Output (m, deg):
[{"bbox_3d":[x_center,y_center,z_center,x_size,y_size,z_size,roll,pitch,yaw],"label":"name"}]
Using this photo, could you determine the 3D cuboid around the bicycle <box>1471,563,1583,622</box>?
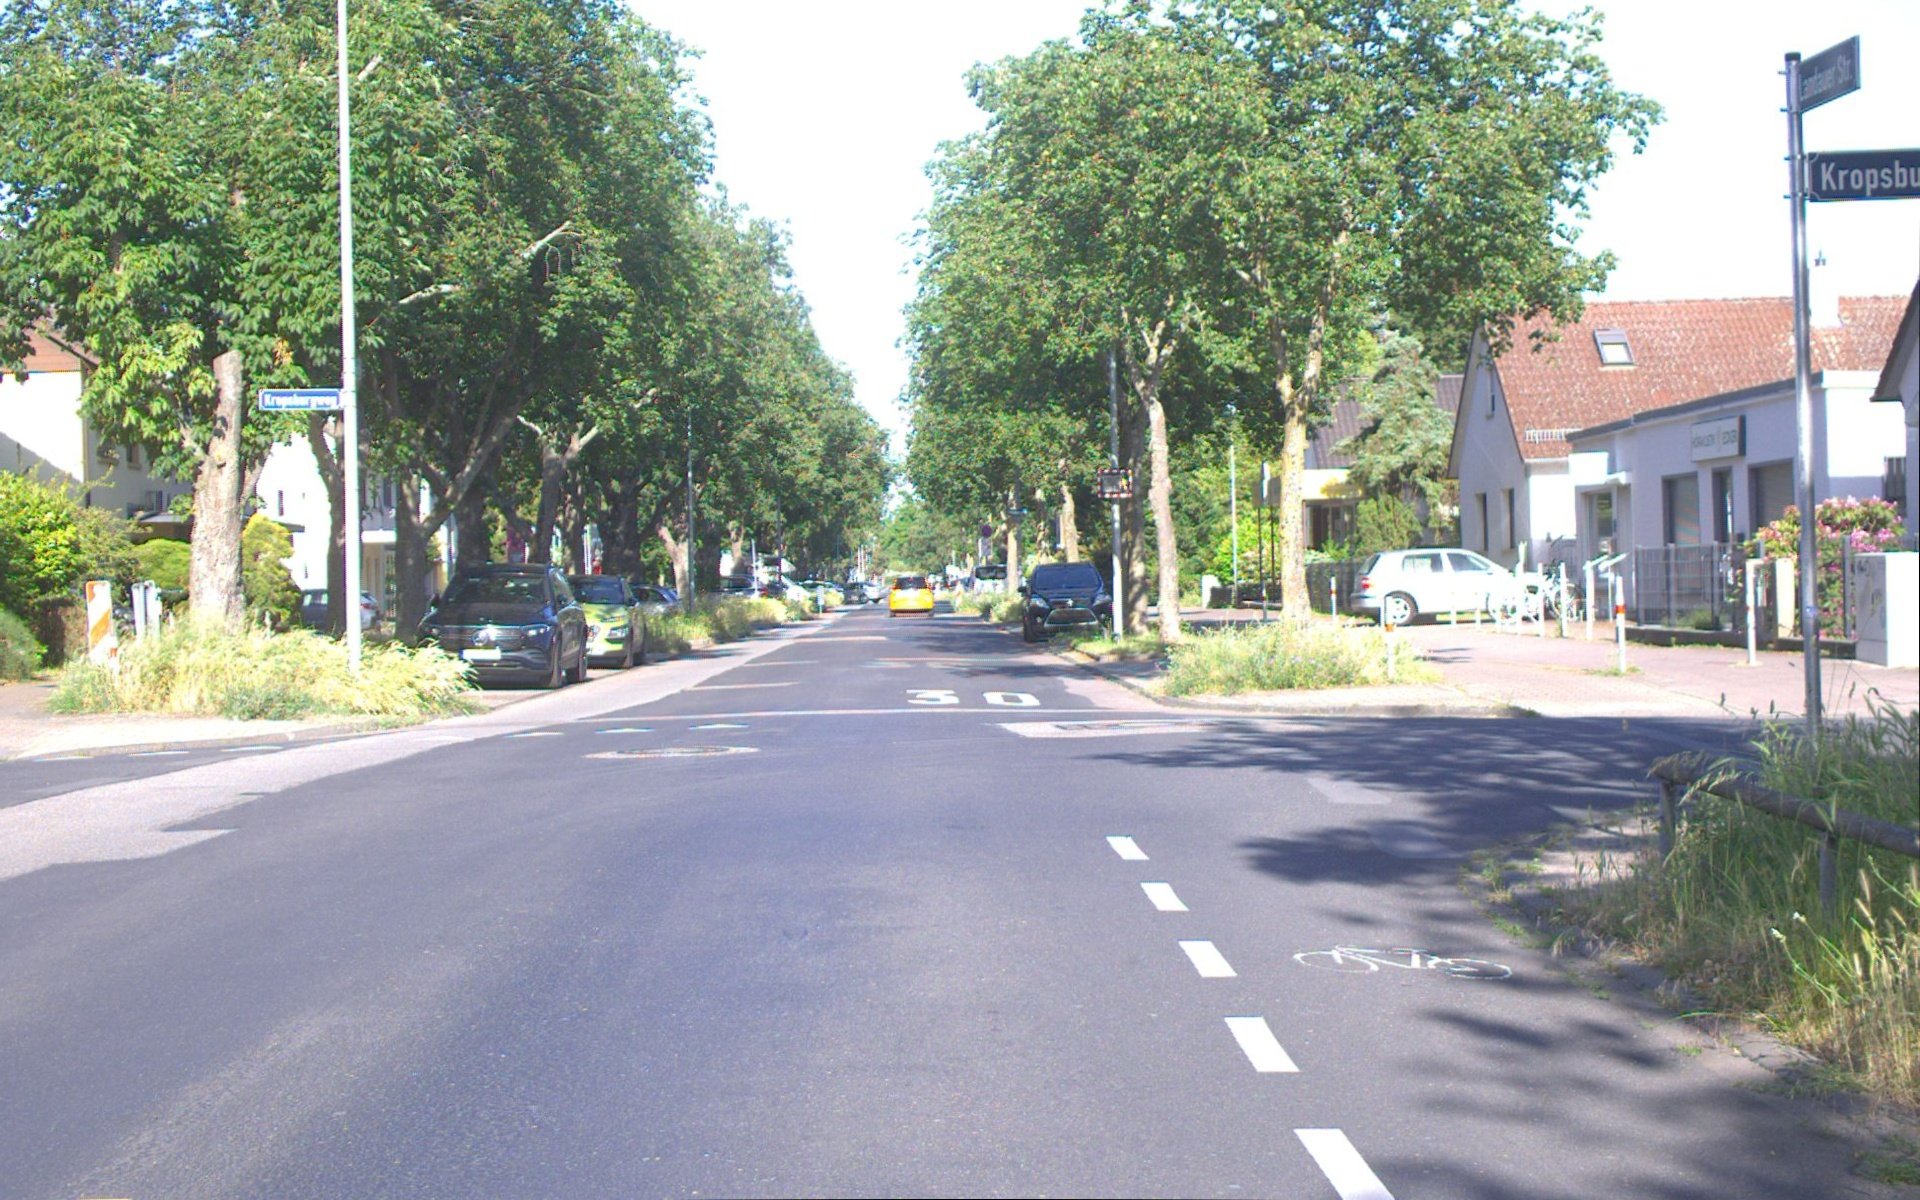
[{"bbox_3d":[10.491,-0.138,63.658,1.923,0.995,0.576,-3,2,-2],"label":"bicycle"}]

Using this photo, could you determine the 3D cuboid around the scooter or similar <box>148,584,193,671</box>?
[{"bbox_3d":[-9.223,0.313,40.163,0.335,0.997,0.998,-2,0,-4],"label":"scooter or similar"}]

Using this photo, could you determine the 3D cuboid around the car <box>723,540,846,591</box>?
[{"bbox_3d":[-7.954,-1.584,156.050,5.498,2.240,2.517,0,2,-2],"label":"car"}]

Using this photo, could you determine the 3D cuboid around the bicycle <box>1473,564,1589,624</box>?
[{"bbox_3d":[10.405,-0.112,62.668,1.958,0.995,0.576,-3,2,-2],"label":"bicycle"}]

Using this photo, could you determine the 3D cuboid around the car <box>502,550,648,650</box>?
[{"bbox_3d":[-6.449,0.020,58.042,1.939,1.603,4.383,0,-1,0],"label":"car"}]

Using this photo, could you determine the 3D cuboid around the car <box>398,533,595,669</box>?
[{"bbox_3d":[-6.164,0.042,46.251,1.953,1.721,4.875,0,-1,0],"label":"car"}]

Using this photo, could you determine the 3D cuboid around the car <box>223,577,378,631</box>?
[{"bbox_3d":[-20.518,0.122,107.135,4.554,1.612,2.000,0,2,-4],"label":"car"}]

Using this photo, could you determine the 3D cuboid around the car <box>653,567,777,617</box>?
[{"bbox_3d":[-9.154,-0.304,128.160,4.545,1.759,2.001,0,2,-5],"label":"car"}]

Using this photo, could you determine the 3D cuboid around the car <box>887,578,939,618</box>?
[{"bbox_3d":[-1.837,-0.092,132.252,1.888,1.474,3.888,1,0,-2],"label":"car"}]

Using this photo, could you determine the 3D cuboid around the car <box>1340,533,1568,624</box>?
[{"bbox_3d":[9.426,-0.422,65.740,3.987,1.483,1.902,-3,2,-2],"label":"car"}]

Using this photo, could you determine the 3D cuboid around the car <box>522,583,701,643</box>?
[{"bbox_3d":[-9.142,0.339,90.427,4.554,1.506,1.841,0,2,-1],"label":"car"}]

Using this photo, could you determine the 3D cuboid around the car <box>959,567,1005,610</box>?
[{"bbox_3d":[0.936,-0.489,146.955,1.902,1.768,4.301,0,0,0],"label":"car"}]

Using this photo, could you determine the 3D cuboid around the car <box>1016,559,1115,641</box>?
[{"bbox_3d":[2.230,0.006,73.824,1.853,1.620,4.469,-3,0,-1],"label":"car"}]
